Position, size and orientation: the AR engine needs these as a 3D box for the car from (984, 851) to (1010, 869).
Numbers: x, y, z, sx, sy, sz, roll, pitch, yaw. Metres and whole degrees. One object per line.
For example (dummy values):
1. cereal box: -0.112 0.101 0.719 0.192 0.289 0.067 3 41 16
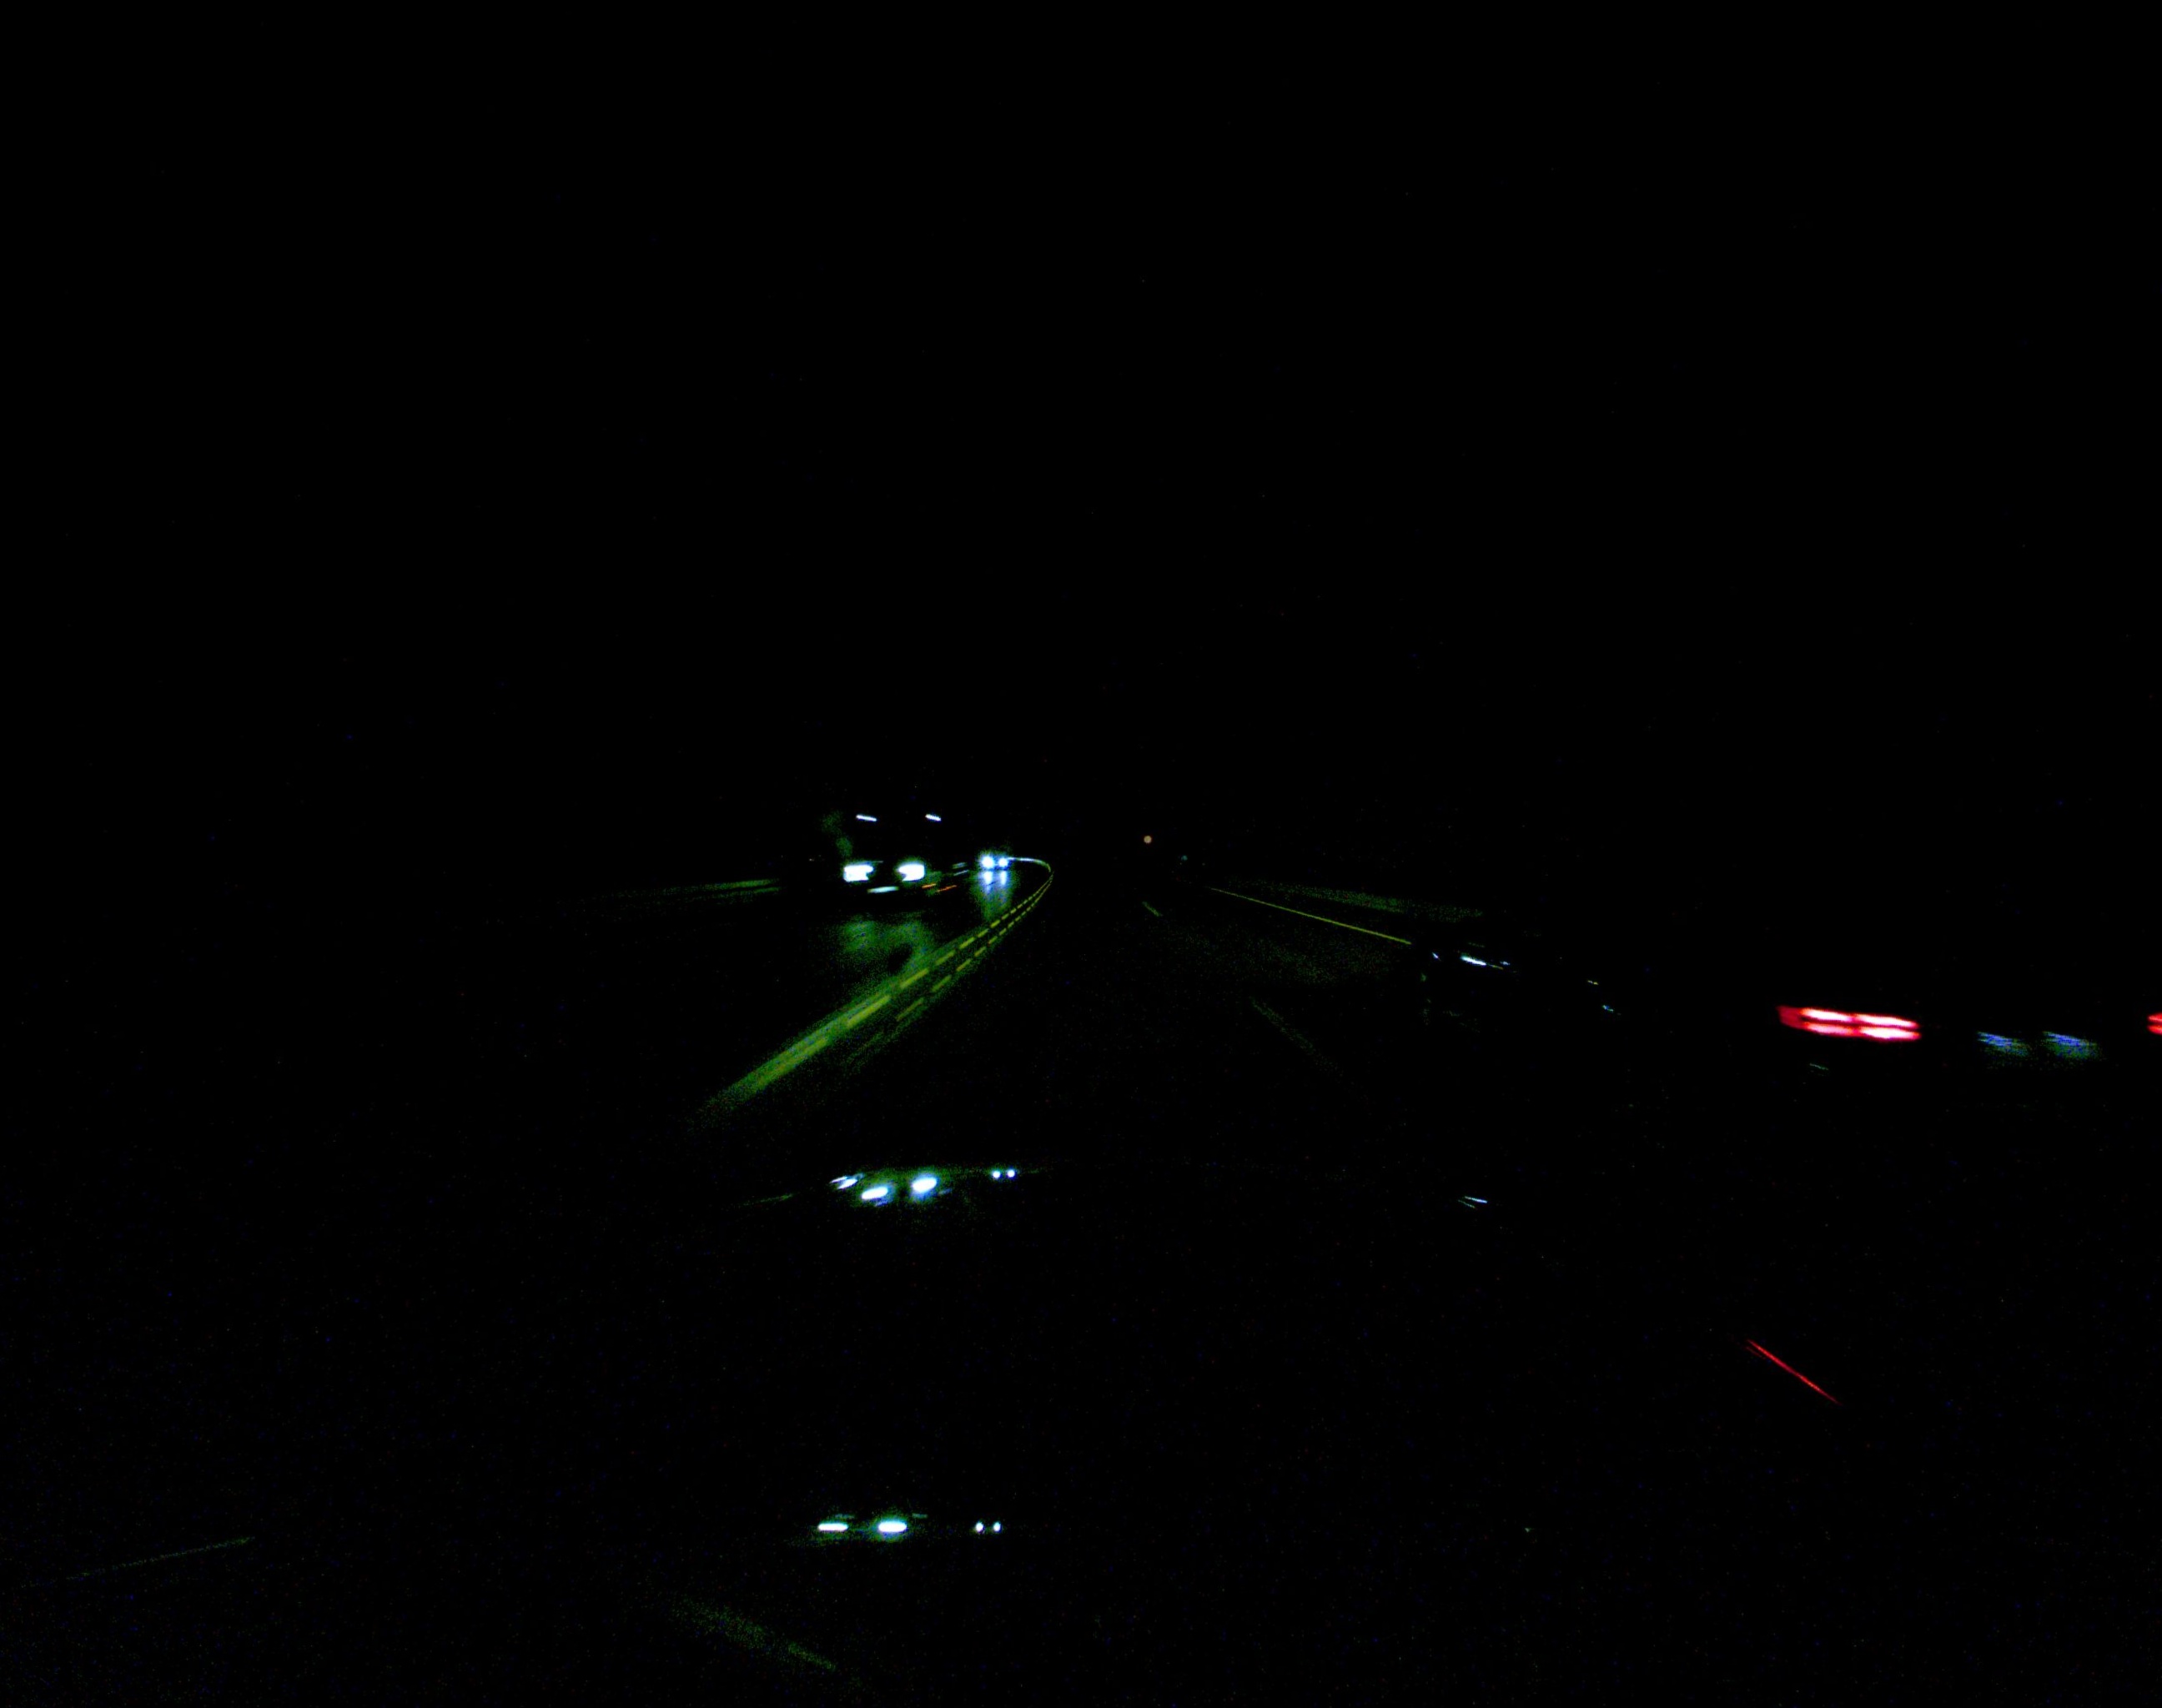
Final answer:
1. car: -7.266 0.492 70.826 1.908 1.426 4.948 -1 1 -2

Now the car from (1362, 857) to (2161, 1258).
1. car: 3.618 0.755 5.442 1.802 1.426 4.874 -1 0 0

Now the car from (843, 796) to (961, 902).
1. car: -5.851 -0.098 27.834 2.479 3.105 7.381 -1 -1 -1
